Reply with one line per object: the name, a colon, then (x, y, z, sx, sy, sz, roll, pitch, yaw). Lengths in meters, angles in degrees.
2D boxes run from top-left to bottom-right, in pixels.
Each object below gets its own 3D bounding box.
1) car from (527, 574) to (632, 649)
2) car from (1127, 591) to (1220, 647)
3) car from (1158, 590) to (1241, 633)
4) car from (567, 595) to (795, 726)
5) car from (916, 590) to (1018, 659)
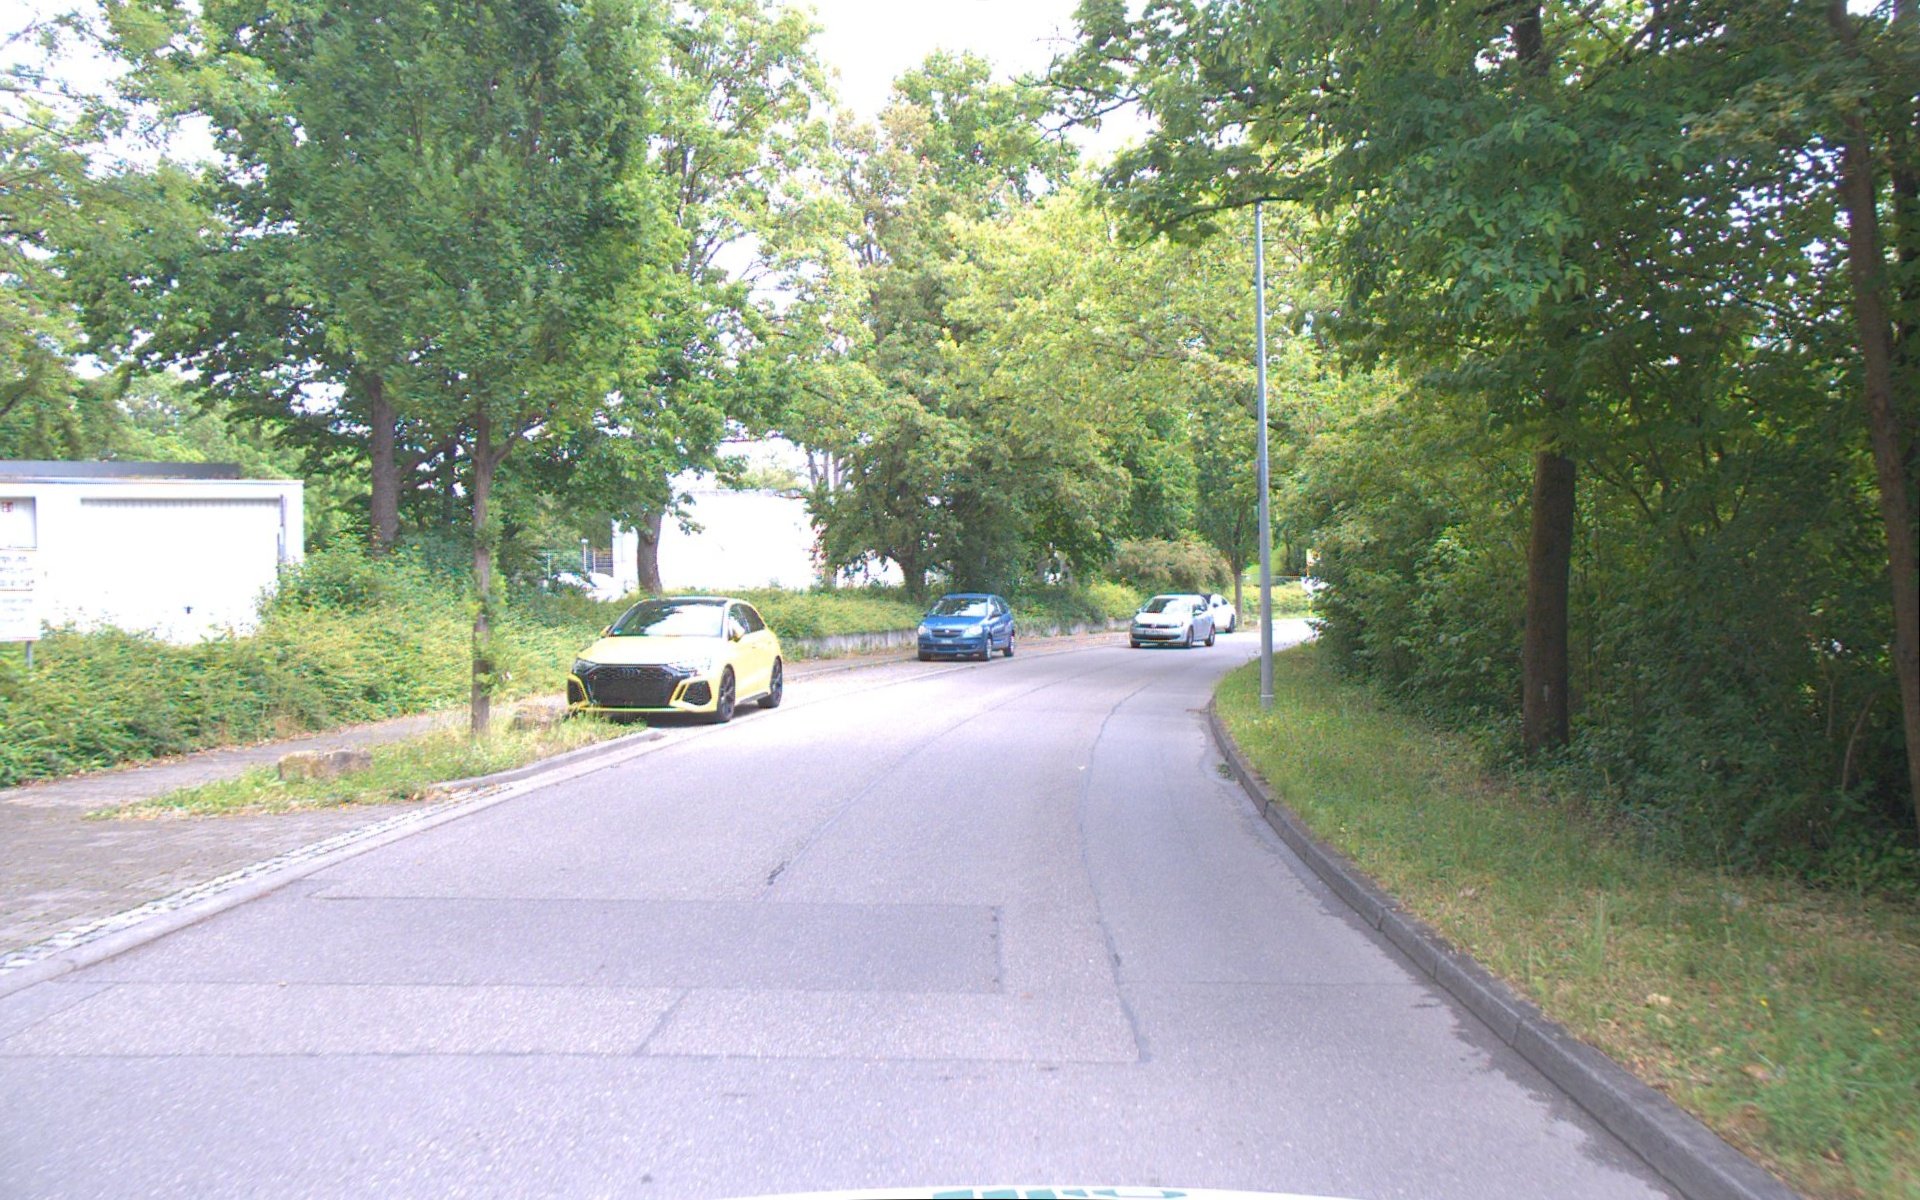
car: (-9.203, 0.221, 39.802, 1.718, 1.650, 3.844, -2, 2, -24)
car: (6.188, 0.499, 47.648, 1.642, 1.488, 4.061, 1, 1, 22)
car: (8.650, 0.374, 59.445, 1.778, 1.449, 4.358, 0, 1, 25)
car: (-3.285, 0.664, 20.303, 1.664, 1.427, 4.276, 0, 0, 6)
car: (0.220, 0.527, 37.919, 1.501, 1.484, 3.723, -1, 0, 14)
